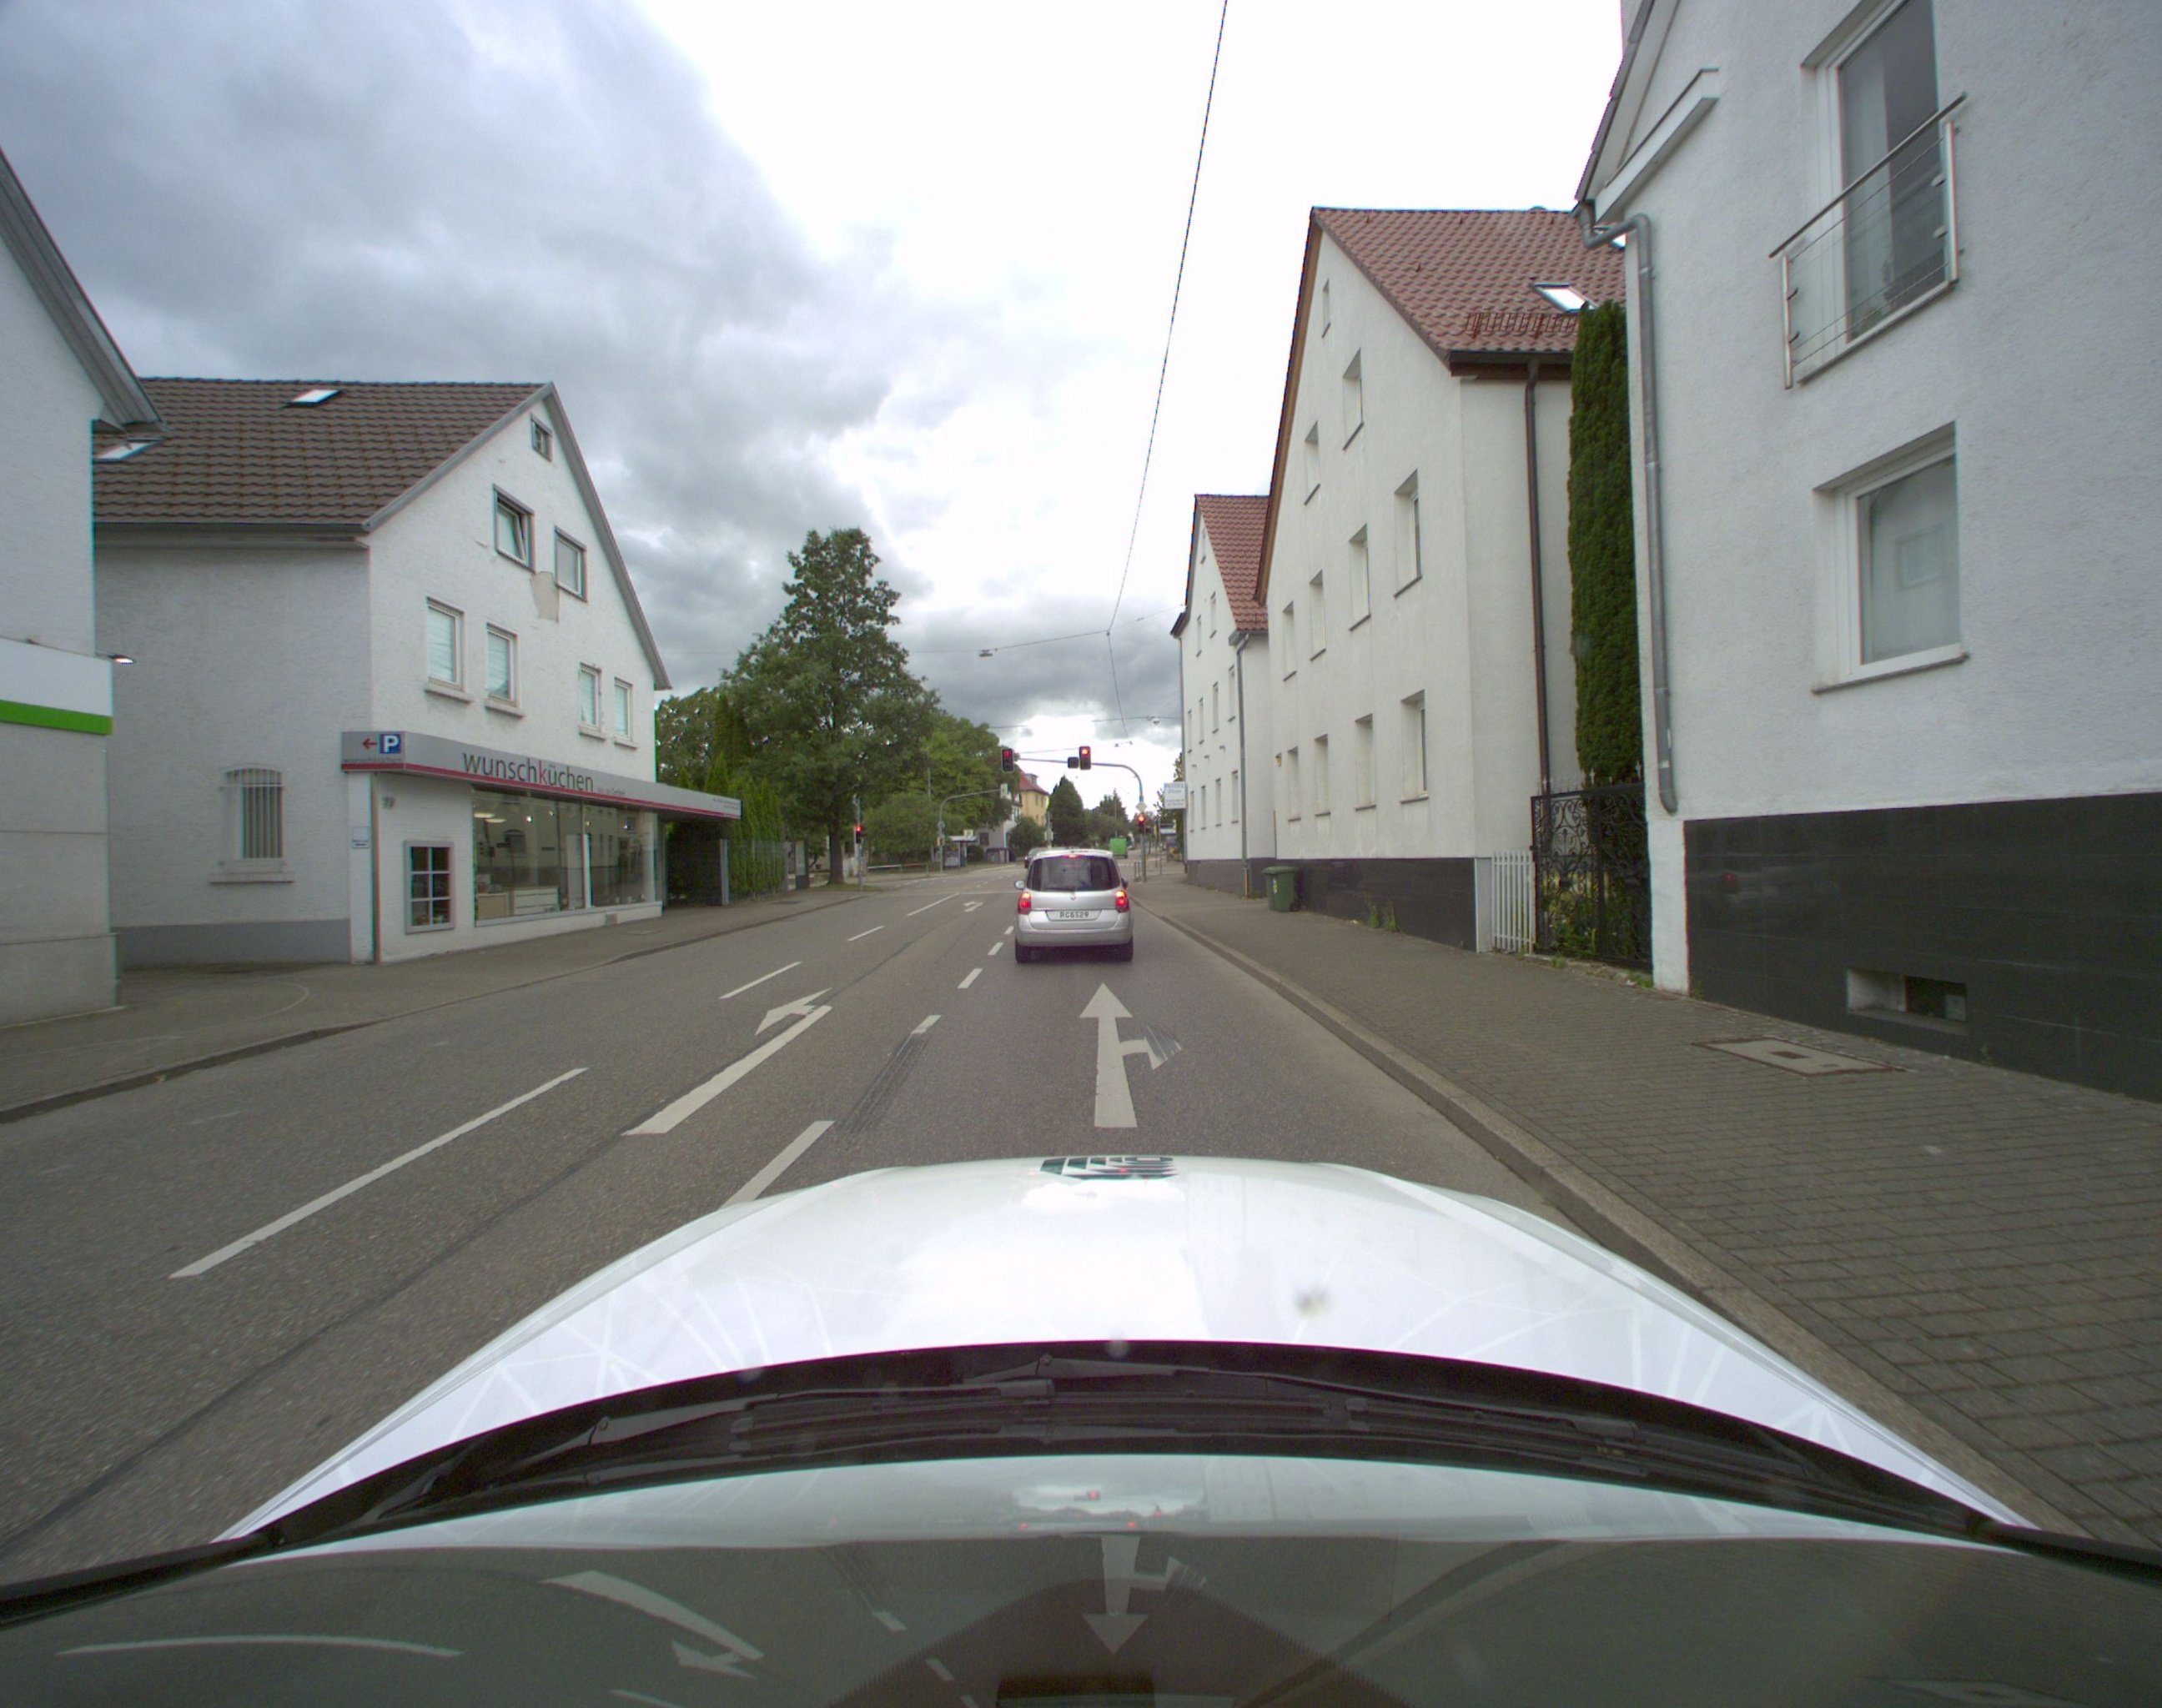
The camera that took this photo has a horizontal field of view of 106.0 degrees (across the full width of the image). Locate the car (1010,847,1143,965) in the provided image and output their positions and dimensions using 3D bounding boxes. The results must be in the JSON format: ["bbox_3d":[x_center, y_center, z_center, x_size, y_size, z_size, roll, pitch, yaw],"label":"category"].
[{"bbox_3d":[-0.097,0.689,12.808,1.750,1.530,3.998,-1,0,-1],"label":"car"}]

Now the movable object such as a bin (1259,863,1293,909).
[{"bbox_3d":[4.215,0.678,17.622,0.538,0.941,0.487,-4,0,-1],"label":"movable object such as a bin"}]

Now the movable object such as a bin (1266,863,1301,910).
[{"bbox_3d":[4.246,0.677,17.087,0.538,0.941,0.487,-4,0,-1],"label":"movable object such as a bin"}]

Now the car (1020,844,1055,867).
[{"bbox_3d":[-3.624,0.098,68.793,1.915,1.773,4.011,-5,0,9],"label":"car"}]

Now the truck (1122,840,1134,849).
[{"bbox_3d":[10.512,-2.108,181.426,2.089,2.013,5.762,-1,0,9],"label":"truck"}]

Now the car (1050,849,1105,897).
[{"bbox_3d":[-0.139,0.602,28.303,1.750,1.530,3.795,-1,0,-1],"label":"car"}]

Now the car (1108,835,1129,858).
[{"bbox_3d":[4.389,-0.823,93.735,2.049,2.512,5.604,-1,0,6],"label":"car"}]
